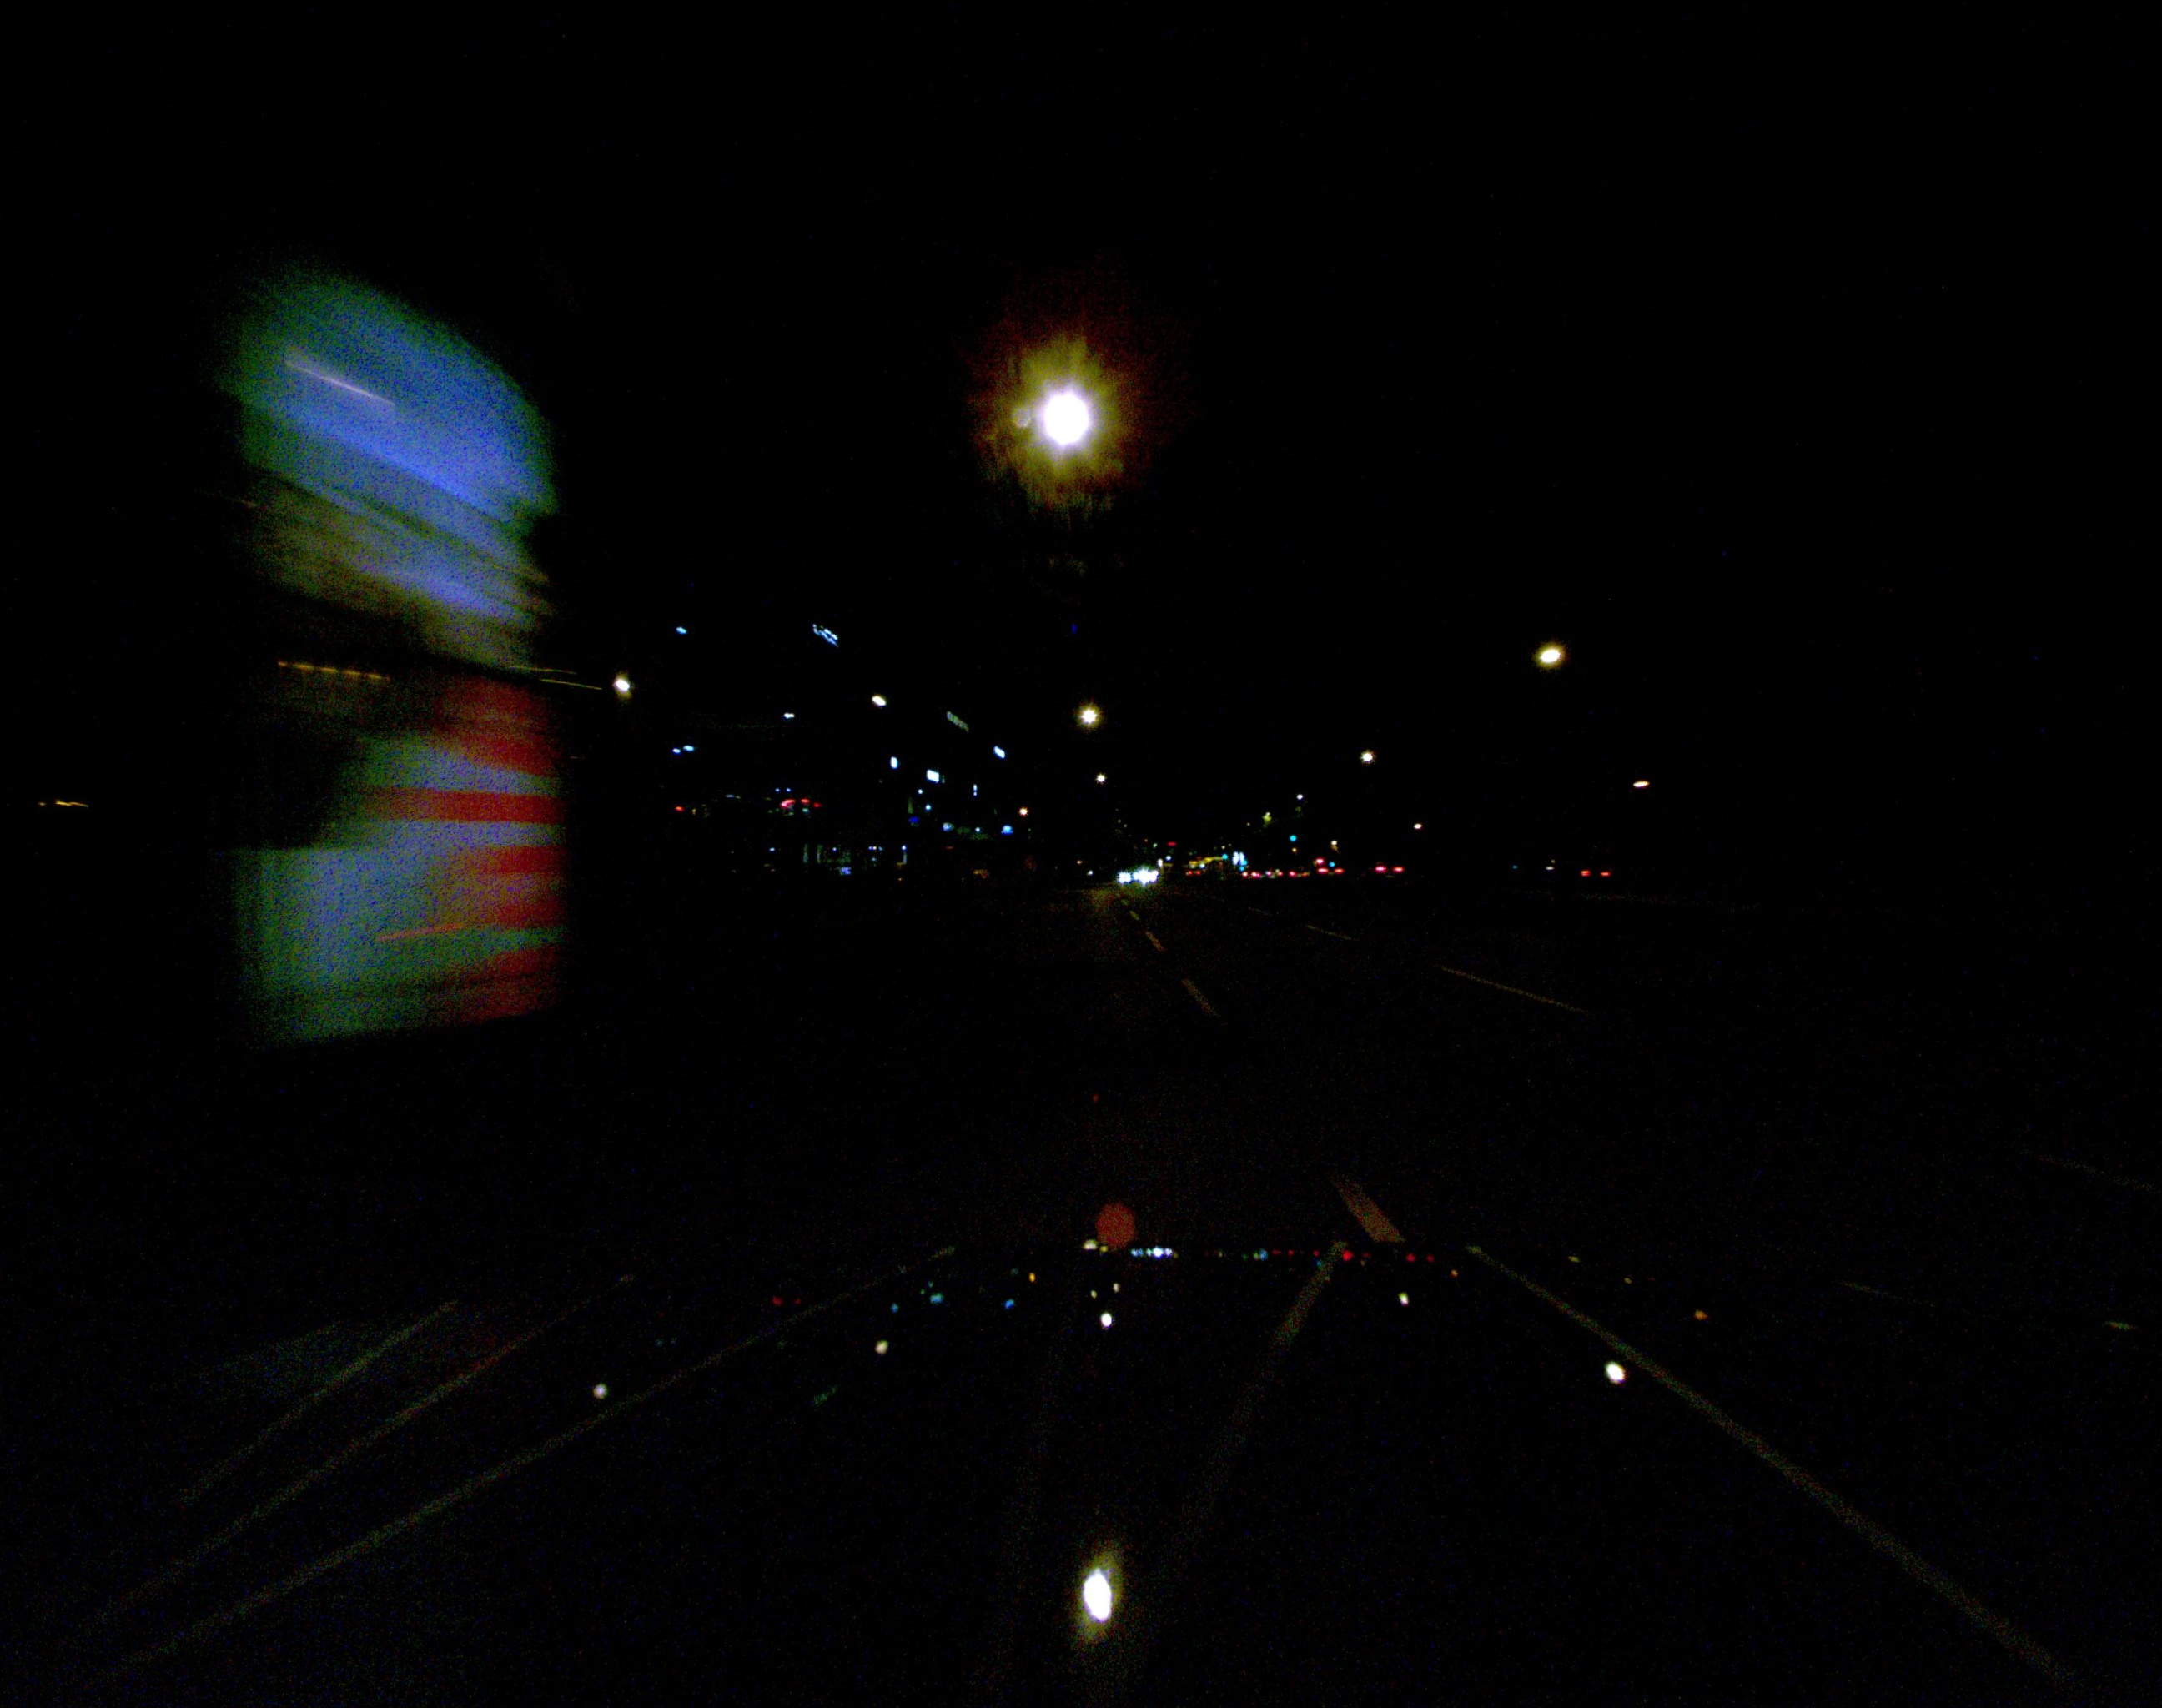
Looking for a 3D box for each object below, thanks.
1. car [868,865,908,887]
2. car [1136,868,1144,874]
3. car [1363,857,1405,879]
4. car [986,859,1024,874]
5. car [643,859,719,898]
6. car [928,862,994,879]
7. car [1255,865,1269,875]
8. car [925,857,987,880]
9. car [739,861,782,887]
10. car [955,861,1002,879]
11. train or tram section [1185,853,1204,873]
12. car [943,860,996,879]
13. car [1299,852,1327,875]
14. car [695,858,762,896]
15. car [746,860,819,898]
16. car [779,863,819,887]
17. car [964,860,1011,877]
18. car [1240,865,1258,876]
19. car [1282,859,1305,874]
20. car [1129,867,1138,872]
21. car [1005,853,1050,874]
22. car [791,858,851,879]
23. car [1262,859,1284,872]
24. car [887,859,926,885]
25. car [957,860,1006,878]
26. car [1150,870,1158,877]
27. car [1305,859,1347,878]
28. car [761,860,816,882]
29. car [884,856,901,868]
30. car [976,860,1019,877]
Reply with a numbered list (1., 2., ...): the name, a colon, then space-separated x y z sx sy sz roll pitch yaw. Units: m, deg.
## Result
1. car: -14.212 1.601 55.808 1.781 1.401 4.328 -1 1 -30
2. car: 15.903 4.636 205.341 1.711 1.562 4.000 -1 0 1
3. car: 22.435 1.020 56.426 1.865 1.505 4.617 1 0 8
4. car: -7.983 1.301 79.490 3.815 1.444 1.716 2 -1 -9
5. car: -22.189 1.321 42.365 1.956 1.982 4.408 -1 0 -2
6. car: -9.184 1.264 58.205 4.649 1.256 1.944 0 -2 -20
7. car: 29.310 2.536 123.333 1.663 1.507 3.913 -1 -1 6
8. car: -8.676 0.986 52.812 4.135 1.412 1.875 -2 0 -9
9. car: -22.490 1.357 53.459 1.637 1.632 3.299 2 1 -1
10. car: -8.566 1.330 63.418 3.616 1.425 1.677 -1 0 -19
11. train or tram section: 23.697 1.927 159.403 2.764 3.804 18.681 -1 -1 6
12. car: -8.962 1.259 60.932 4.002 1.415 1.907 0 -2 -13
13. car: 29.338 1.203 96.234 2.149 2.655 6.966 2 0 7
14. car: -19.765 1.268 42.832 1.816 1.982 4.408 -1 0 -2
15. car: -16.860 1.363 43.237 1.999 2.001 5.627 -1 -1 -1
16. car: -20.101 1.449 54.202 1.637 1.505 3.415 0 2 -1
17. car: -8.499 1.318 69.011 4.003 1.383 1.824 2 -2 -18
18. car: 24.770 2.402 112.094 1.789 1.488 4.174 -1 0 1
19. car: 25.198 1.486 90.310 1.783 1.703 4.228 -1 0 4
20. car: 13.197 3.814 190.635 1.946 1.299 3.909 1 -1 11
21. car: -7.722 1.429 108.752 6.039 2.514 2.281 5 -2 -12
22. car: -21.334 1.191 62.337 4.328 1.644 1.653 -1 0 -33
23. car: 22.095 1.321 87.711 1.624 1.431 4.339 1 0 3
24. car: -13.777 1.391 59.992 1.591 1.786 3.859 -1 2 -36
25. car: -8.683 1.304 66.210 4.003 1.461 1.831 2 -1 -15
26. car: 18.686 5.032 194.454 1.907 1.608 3.721 -1 0 6
27. car: 19.551 1.112 60.853 1.871 1.420 4.957 -2 -1 1
28. car: -22.245 1.261 57.838 3.486 1.576 1.749 1 2 5
29. car: -26.643 1.162 107.478 2.001 1.652 4.661 -1 0 -18
30. car: -8.281 1.425 74.982 4.037 1.365 1.824 3 -1 -12
